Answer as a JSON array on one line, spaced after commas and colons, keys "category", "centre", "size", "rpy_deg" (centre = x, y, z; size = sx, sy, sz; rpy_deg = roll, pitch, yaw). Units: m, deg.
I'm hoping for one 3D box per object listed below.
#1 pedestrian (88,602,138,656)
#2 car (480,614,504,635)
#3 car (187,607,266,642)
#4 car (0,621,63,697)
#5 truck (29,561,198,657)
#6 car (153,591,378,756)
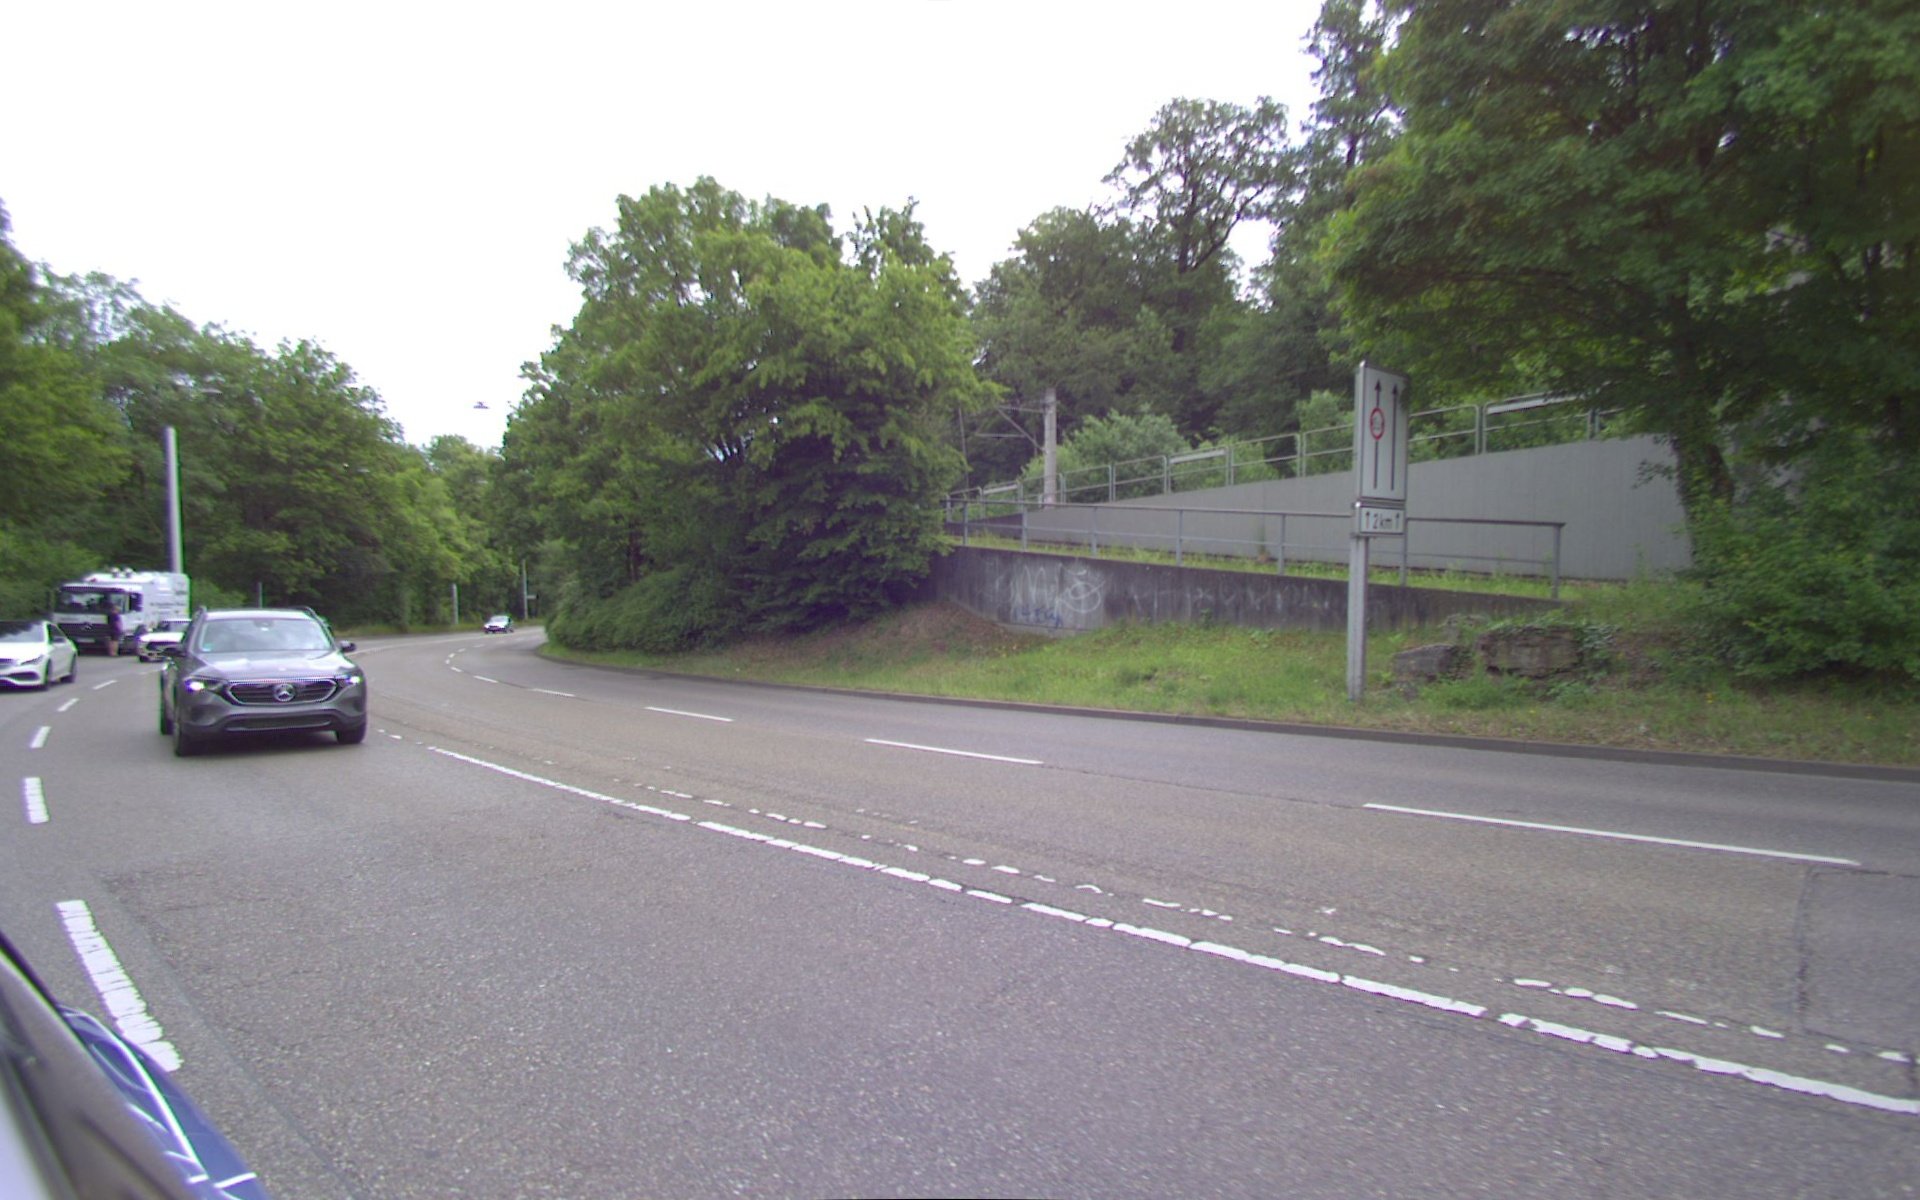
[{"category": "pedestrian", "centre": [-29.765, 1.033, 35.589], "size": [0.904, 1.848, 0.987], "rpy_deg": [2, -3, -14]}, {"category": "car", "centre": [-38.100, 1.945, 82.395], "size": [1.669, 1.594, 4.013], "rpy_deg": [-2, 0, -25]}, {"category": "car", "centre": [-34.486, 1.117, 47.711], "size": [1.778, 1.536, 4.012], "rpy_deg": [-1, 0, -17]}, {"category": "car", "centre": [-19.245, 1.119, 20.156], "size": [1.868, 1.306, 4.335], "rpy_deg": [4, -2, -40]}, {"category": "truck", "centre": [-31.960, 0.340, 38.592], "size": [2.447, 3.205, 7.251], "rpy_deg": [-2, 0, -19]}, {"category": "car", "centre": [-8.673, 0.764, 12.481], "size": [1.843, 1.675, 4.199], "rpy_deg": [1, -1, -40]}]
